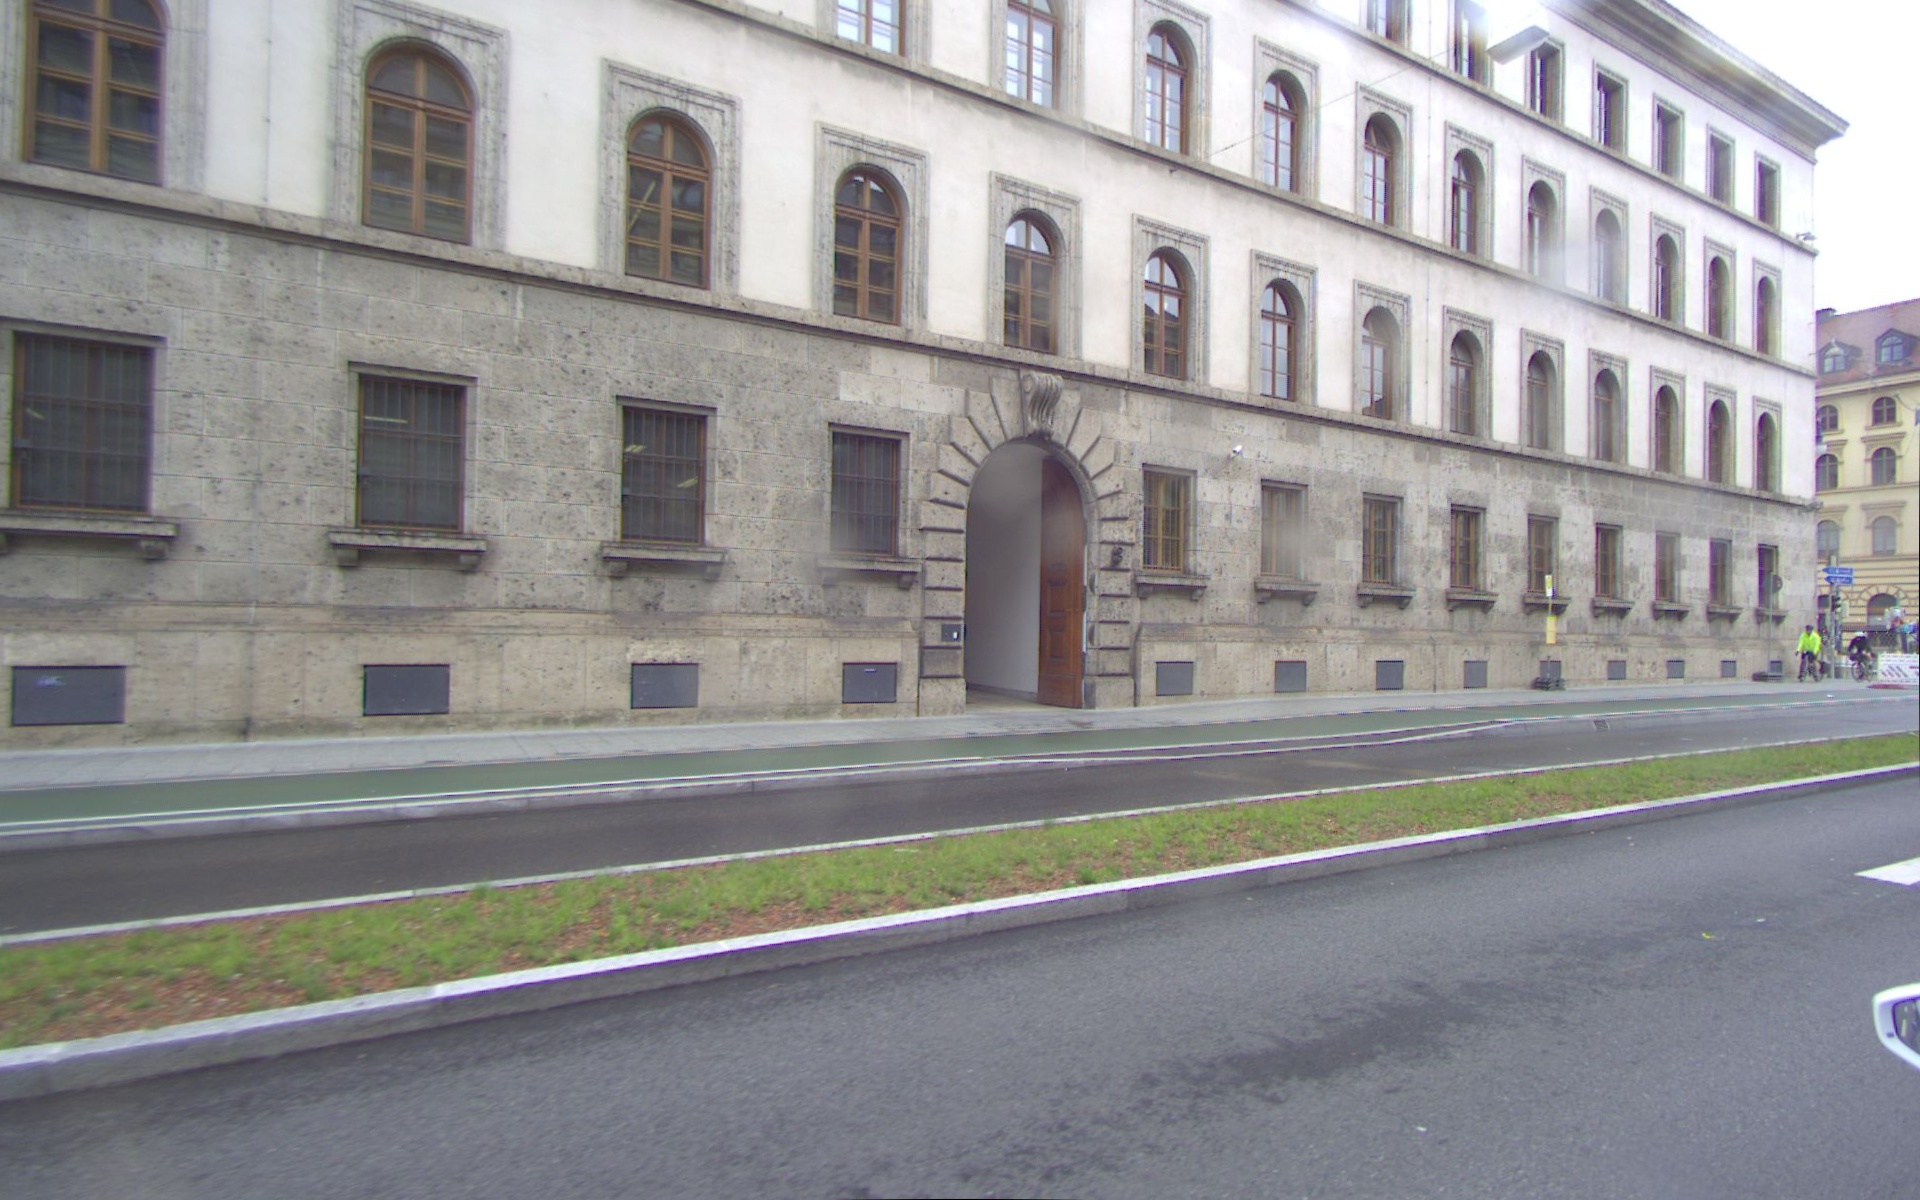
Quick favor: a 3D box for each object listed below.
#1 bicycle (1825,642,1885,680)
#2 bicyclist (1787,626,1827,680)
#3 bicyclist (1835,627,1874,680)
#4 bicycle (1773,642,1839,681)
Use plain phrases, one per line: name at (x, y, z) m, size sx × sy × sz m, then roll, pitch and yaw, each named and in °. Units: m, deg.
bicycle at (30.973, 2.109, 34.756) m, size 2.170 × 1.259 × 0.784 m, roll 1°, pitch 0°, yaw -26°
bicyclist at (28.320, 1.769, 33.598) m, size 0.680 × 1.772 × 0.795 m, roll 1°, pitch 0°, yaw -26°
bicyclist at (30.893, 1.844, 34.701) m, size 0.680 × 1.799 × 0.795 m, roll 1°, pitch 0°, yaw -26°
bicycle at (28.308, 2.040, 33.599) m, size 2.416 × 1.259 × 0.784 m, roll 1°, pitch 0°, yaw -26°
